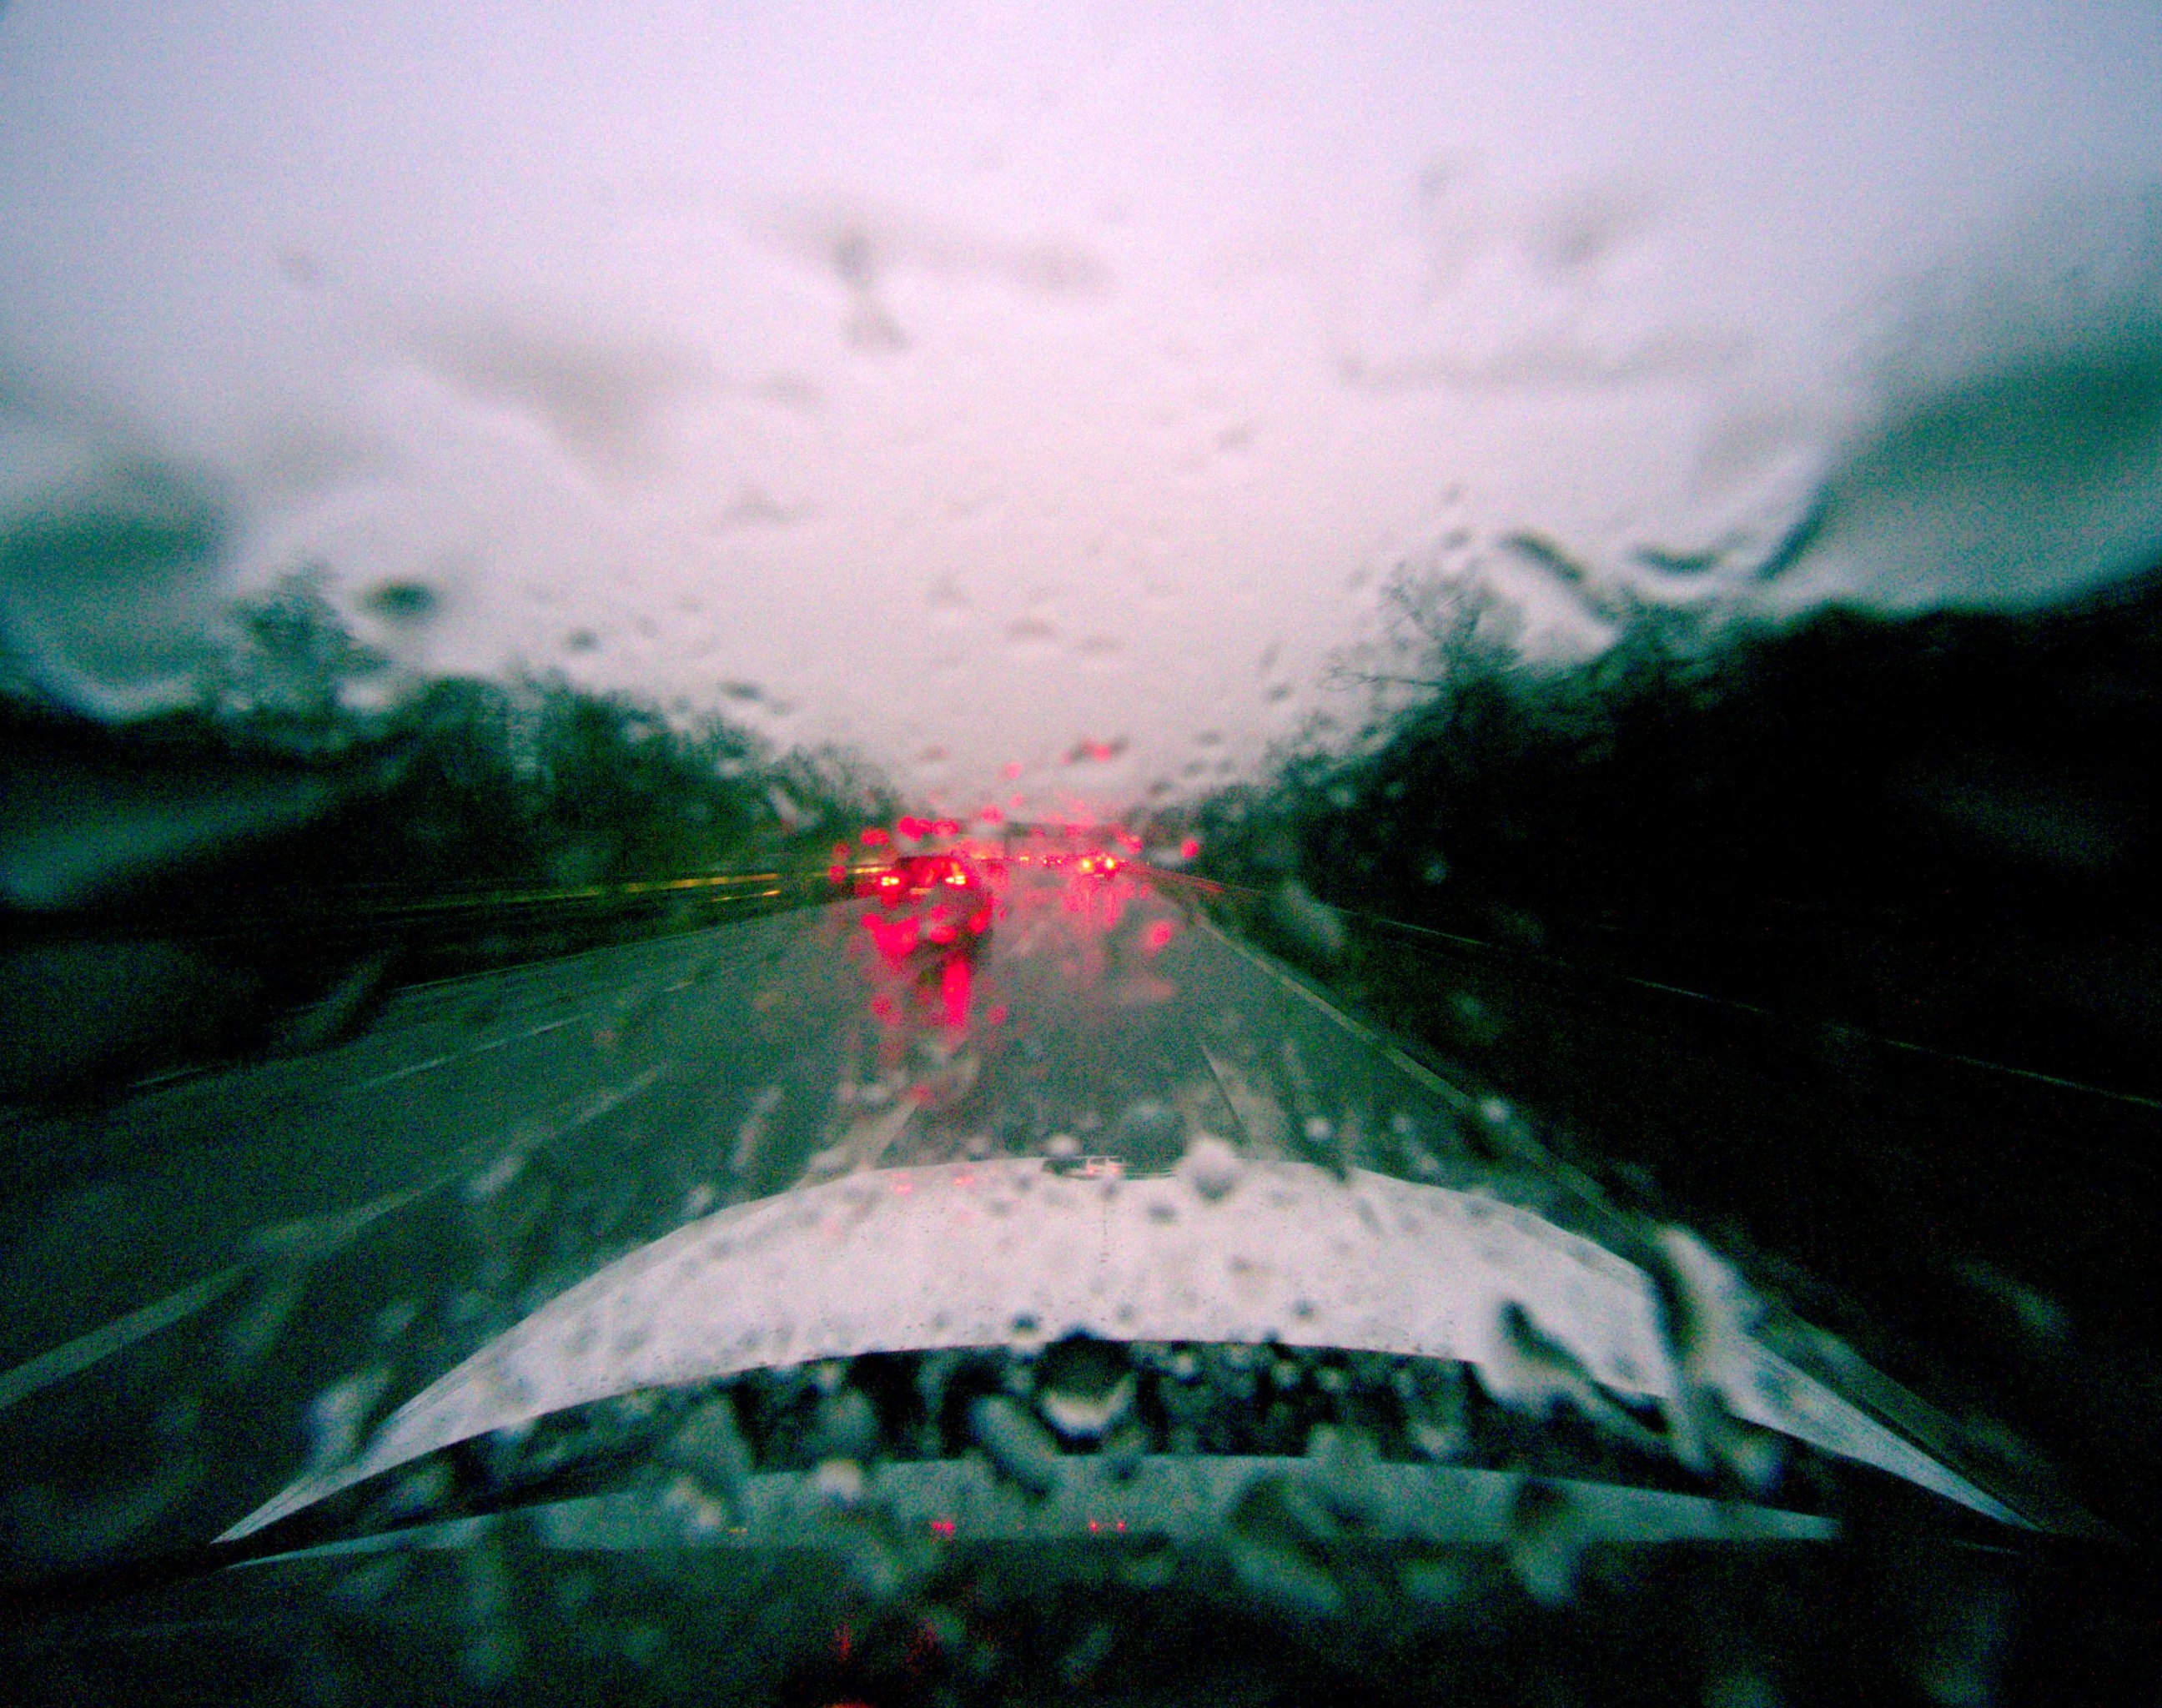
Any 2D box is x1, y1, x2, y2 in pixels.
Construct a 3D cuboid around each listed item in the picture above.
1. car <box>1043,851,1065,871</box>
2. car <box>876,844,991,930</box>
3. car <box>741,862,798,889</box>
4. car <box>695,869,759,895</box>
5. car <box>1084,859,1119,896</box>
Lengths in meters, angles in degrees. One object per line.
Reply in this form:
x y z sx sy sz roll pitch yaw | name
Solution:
-2.383 0.633 73.074 1.873 1.617 3.873 1 2 -1 | car
-3.133 0.650 18.053 1.989 1.665 3.995 -1 0 -3 | car
-16.880 1.157 44.271 1.569 1.376 3.841 1 -2 0 | car
-20.530 1.619 47.427 1.569 1.376 4.782 1 -2 0 | car
1.096 1.200 42.611 1.725 1.428 3.770 0 6 2 | car
